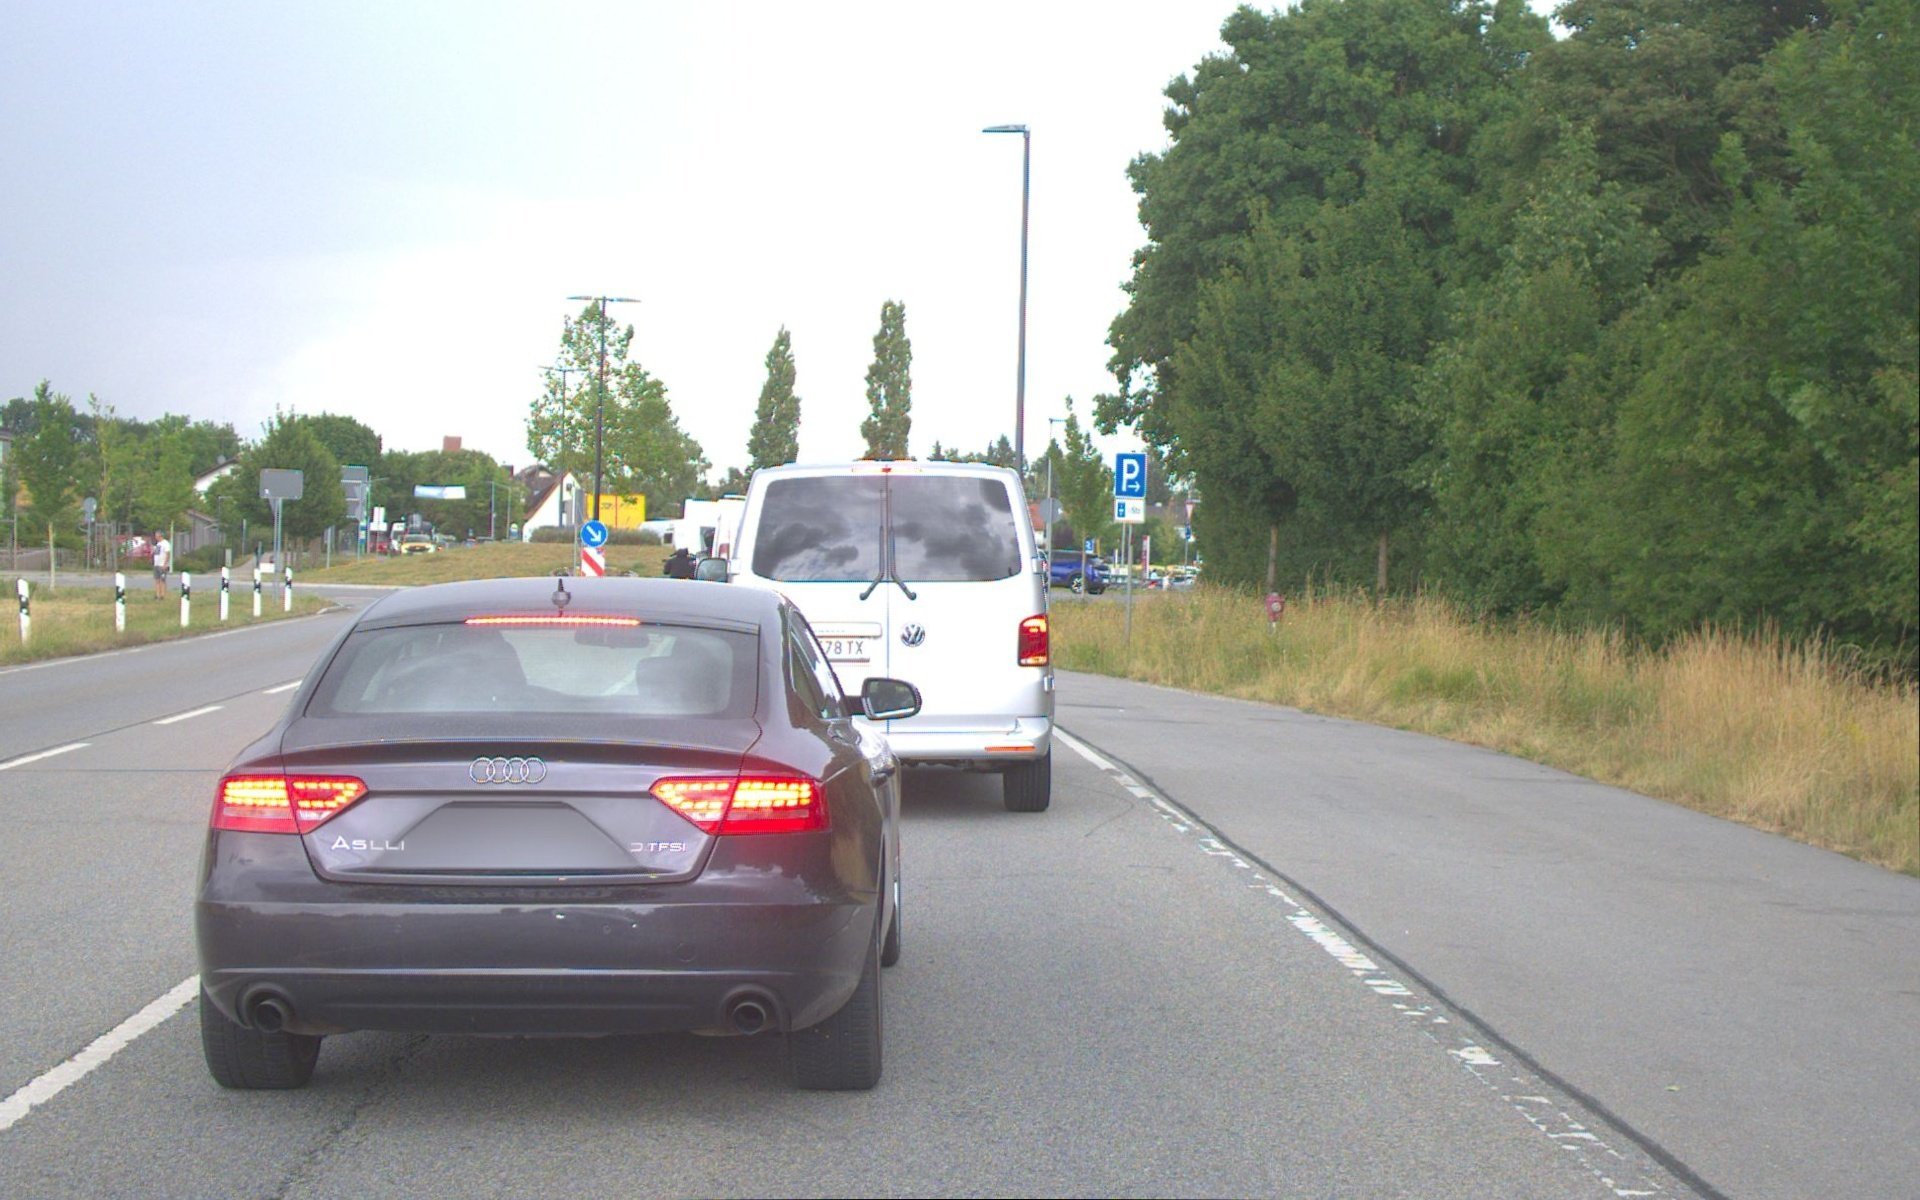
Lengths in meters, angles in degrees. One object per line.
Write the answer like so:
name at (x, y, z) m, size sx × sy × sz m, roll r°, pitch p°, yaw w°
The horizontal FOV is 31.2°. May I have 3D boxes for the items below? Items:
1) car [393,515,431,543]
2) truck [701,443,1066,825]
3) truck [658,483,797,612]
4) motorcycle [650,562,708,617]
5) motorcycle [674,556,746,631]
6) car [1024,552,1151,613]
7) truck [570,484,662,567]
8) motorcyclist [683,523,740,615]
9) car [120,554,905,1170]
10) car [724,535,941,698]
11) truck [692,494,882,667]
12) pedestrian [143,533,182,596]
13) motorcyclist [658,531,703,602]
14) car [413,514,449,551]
car at (-32.982, -4.265, 207.080) m, size 1.993 × 1.636 × 4.001 m, roll 2°, pitch 1°, yaw -6°
truck at (-0.451, 0.139, 20.565) m, size 1.904 × 1.991 × 4.629 m, roll 1°, pitch 1°, yaw -1°
truck at (-5.294, -1.194, 77.548) m, size 2.625 × 2.728 × 5.869 m, roll 2°, pitch 1°, yaw -8°
motorcycle at (-5.392, -0.207, 66.081) m, size 0.944 × 1.016 × 2.284 m, roll 1°, pitch 1°, yaw -1°
motorcycle at (-3.821, -0.107, 52.710) m, size 0.920 × 1.090 × 2.189 m, roll 1°, pitch 1°, yaw 0°
car at (4.489, -0.628, 120.781) m, size 3.991 × 2.007 × 1.998 m, roll 2°, pitch 1°, yaw 19°
truck at (-15.800, -3.442, 157.198) m, size 3.575 × 3.566 × 9.959 m, roll 2°, pitch 1°, yaw -9°
motorcyclist at (-3.803, -0.474, 52.603) m, size 0.772 × 1.379 × 0.820 m, roll 1°, pitch 1°, yaw 1°
car at (-1.114, 0.607, 10.393) m, size 1.875 × 1.449 × 4.177 m, roll 1°, pitch 1°, yaw -1°
car at (-1.252, 0.130, 33.935) m, size 1.993 × 1.480 × 4.000 m, roll 1°, pitch 1°, yaw -2°
truck at (-2.101, -0.266, 43.220) m, size 2.193 × 2.007 × 5.085 m, roll 1°, pitch 1°, yaw -1°
pedestrian at (-19.986, -0.887, 86.125) m, size 0.702 × 1.580 × 0.656 m, roll 2°, pitch 1°, yaw 44°
motorcyclist at (-5.383, -0.648, 66.239) m, size 0.785 × 1.352 × 0.854 m, roll 1°, pitch 1°, yaw -1°
car at (-30.476, -3.880, 198.078) m, size 1.993 × 2.007 × 4.001 m, roll 2°, pitch 1°, yaw -8°
